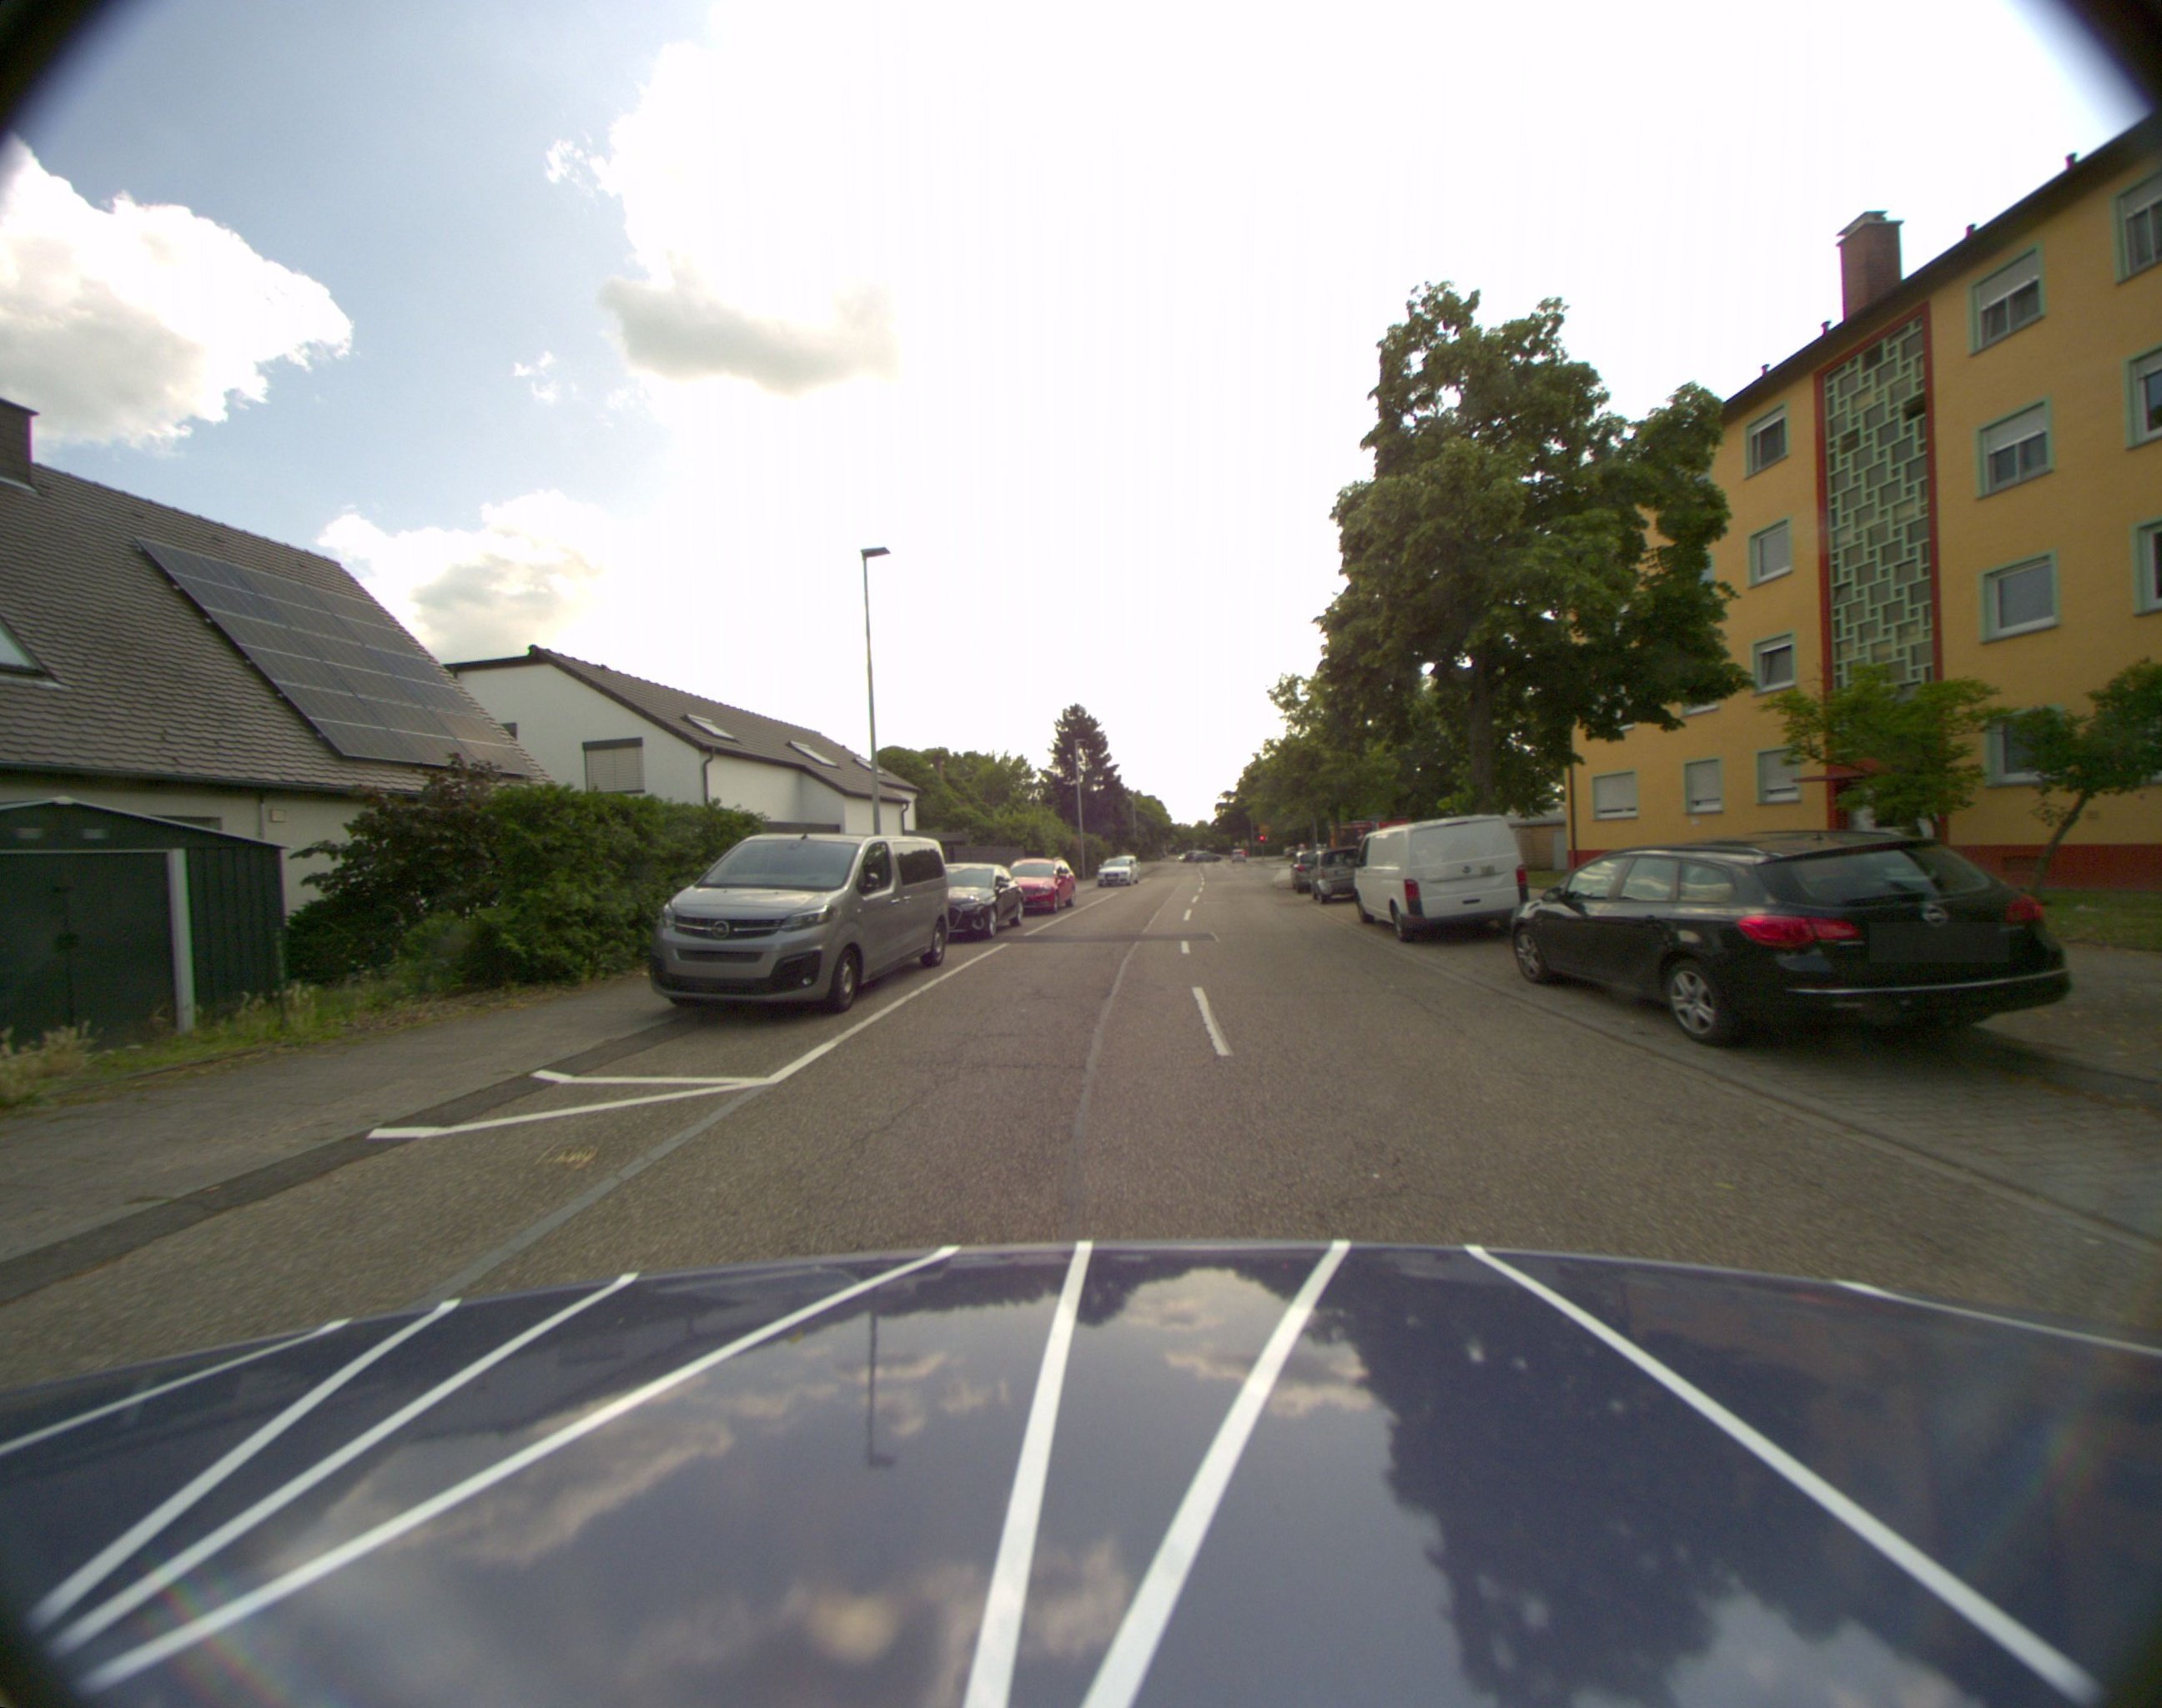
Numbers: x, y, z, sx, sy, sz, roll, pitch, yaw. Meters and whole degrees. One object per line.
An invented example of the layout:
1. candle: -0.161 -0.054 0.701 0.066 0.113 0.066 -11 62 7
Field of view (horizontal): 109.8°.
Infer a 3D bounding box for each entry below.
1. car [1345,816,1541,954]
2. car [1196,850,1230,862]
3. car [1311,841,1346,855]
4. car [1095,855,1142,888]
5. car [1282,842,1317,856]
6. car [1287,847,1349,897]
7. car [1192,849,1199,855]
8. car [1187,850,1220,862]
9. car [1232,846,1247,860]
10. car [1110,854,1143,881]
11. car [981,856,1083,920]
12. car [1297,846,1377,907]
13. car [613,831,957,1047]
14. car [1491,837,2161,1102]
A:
1. car: 6.256 0.460 13.882 1.882 1.997 5.326 -2 0 11
2. car: 18.863 0.228 108.590 4.532 1.450 1.728 -3 0 -1
3. car: 36.950 -0.880 113.476 4.532 1.941 1.728 -3 0 -1
4. car: 1.976 0.864 39.255 1.724 1.478 3.752 -3 0 13
5. car: 31.381 -0.737 109.187 4.532 1.767 1.728 -3 0 -1
6. car: 8.668 0.598 28.035 1.687 1.478 3.986 -5 1 12
7. car: 28.999 -0.546 192.927 1.729 1.421 4.001 -2 2 8
8. car: 18.025 0.261 112.298 4.532 1.513 1.728 -3 0 -1
9. car: 18.853 -0.170 90.425 1.557 1.508 3.611 -3 0 10
10. car: 2.841 0.813 46.941 1.584 1.511 3.758 -3 0 10
11. car: -1.287 0.902 22.186 1.853 1.570 4.736 -3 0 10
12. car: 7.737 0.639 23.240 1.520 1.540 3.758 -8 -1 9
13. car: -3.087 0.752 9.294 1.846 1.933 4.878 0 0 6
14. car: 5.494 0.673 6.649 1.764 1.480 4.506 -3 0 7
